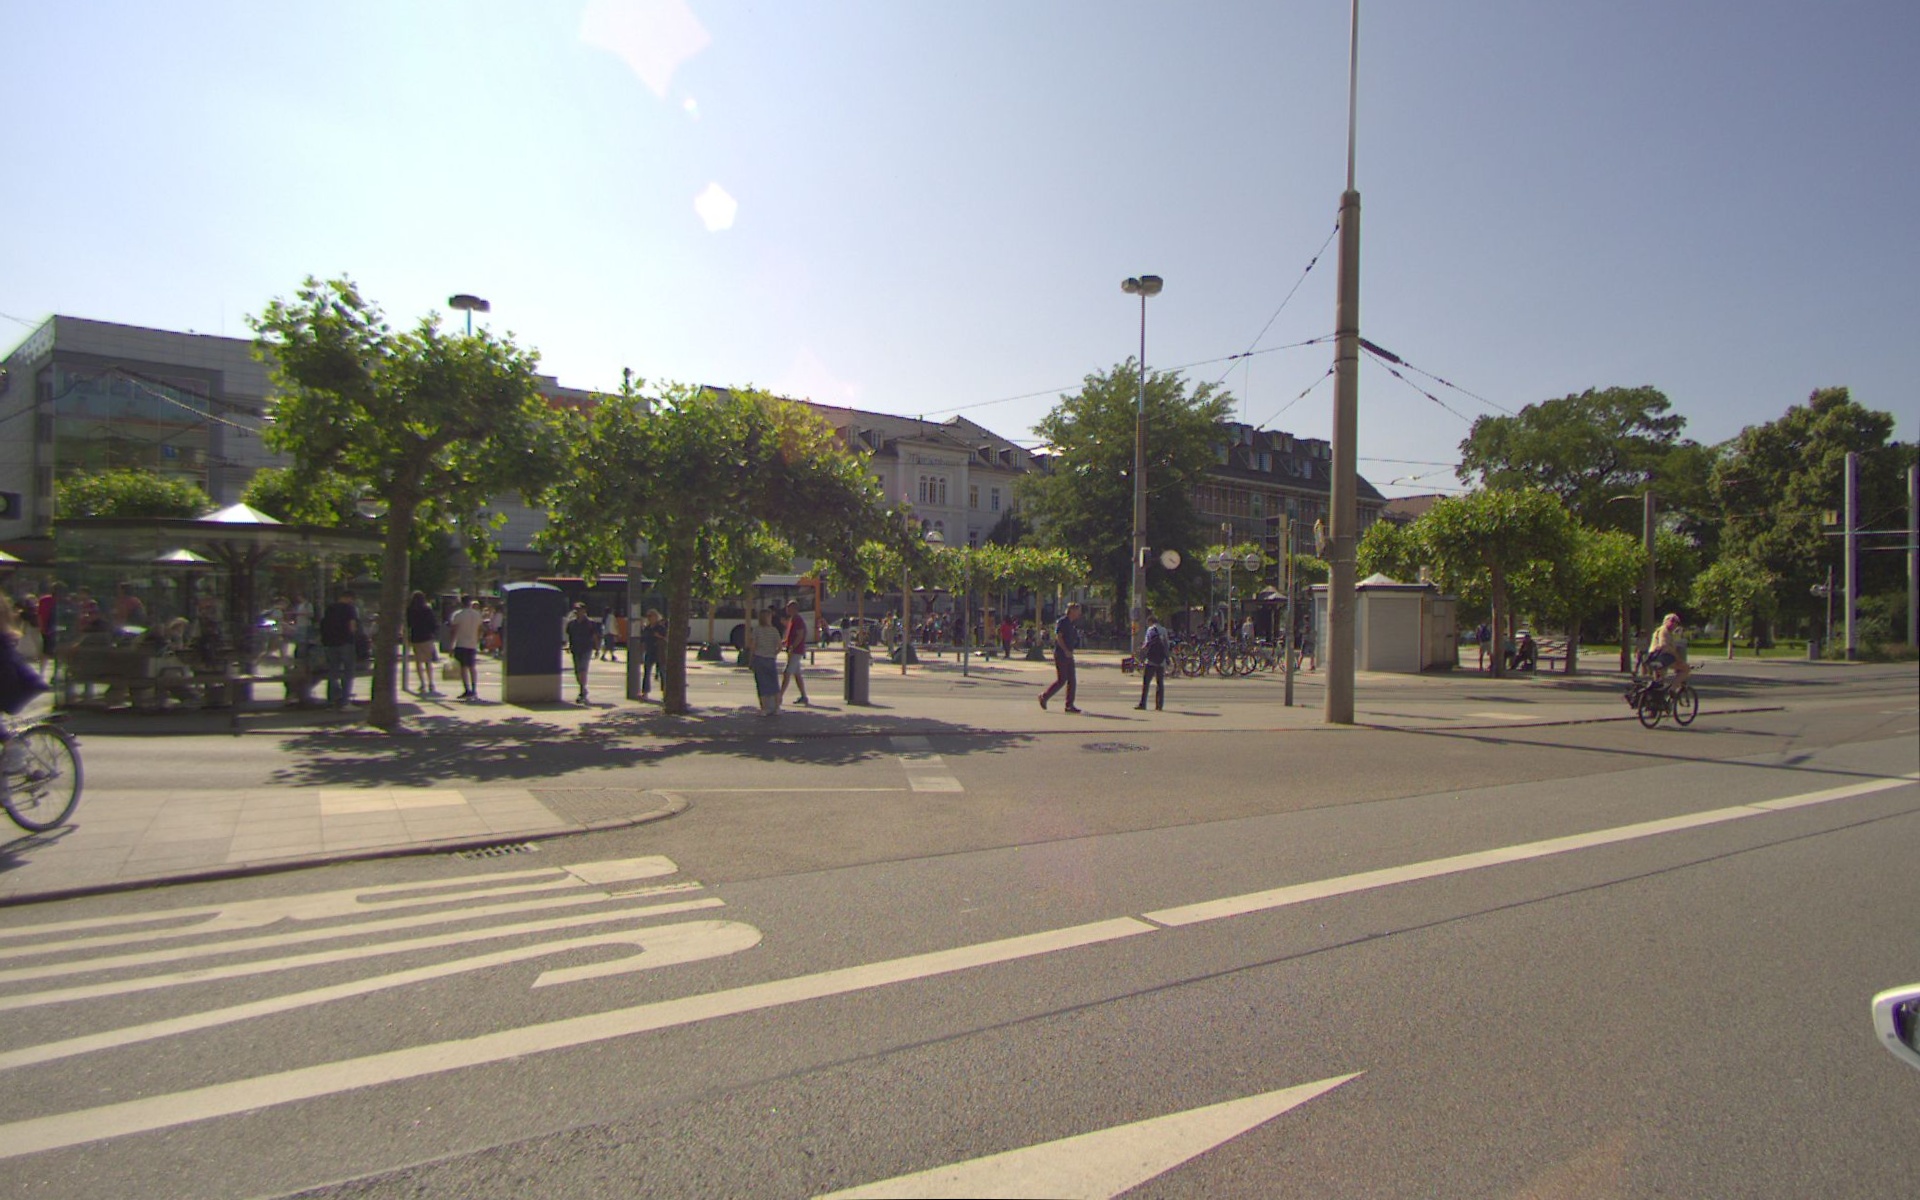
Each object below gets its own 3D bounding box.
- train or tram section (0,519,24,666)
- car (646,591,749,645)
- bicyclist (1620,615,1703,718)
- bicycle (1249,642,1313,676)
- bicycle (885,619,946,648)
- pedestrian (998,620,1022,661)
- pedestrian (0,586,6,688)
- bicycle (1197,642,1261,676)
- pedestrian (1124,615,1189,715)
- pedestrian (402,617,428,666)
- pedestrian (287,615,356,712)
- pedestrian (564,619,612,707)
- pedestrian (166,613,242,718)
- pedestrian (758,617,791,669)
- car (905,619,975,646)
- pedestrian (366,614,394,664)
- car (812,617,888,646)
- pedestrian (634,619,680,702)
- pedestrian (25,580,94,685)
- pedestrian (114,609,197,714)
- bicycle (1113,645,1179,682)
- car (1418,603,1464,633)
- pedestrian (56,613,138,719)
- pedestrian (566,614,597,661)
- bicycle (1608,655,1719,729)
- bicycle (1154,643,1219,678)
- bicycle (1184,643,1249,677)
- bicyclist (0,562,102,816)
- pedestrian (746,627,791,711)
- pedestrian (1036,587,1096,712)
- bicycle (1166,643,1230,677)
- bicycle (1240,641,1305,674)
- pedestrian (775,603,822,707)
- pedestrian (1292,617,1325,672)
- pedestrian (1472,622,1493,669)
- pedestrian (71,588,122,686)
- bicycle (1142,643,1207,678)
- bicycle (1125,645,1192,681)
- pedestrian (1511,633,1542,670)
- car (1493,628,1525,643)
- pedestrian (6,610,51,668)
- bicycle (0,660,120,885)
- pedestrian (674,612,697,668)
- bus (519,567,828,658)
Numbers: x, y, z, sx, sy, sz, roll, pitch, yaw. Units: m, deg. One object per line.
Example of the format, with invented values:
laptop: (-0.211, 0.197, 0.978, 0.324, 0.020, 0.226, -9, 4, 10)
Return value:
train or tram section: (-30.065, -0.329, 26.071, 9.329, 3.878, 2.622, 2, 1, 2)
car: (-15.111, 1.047, 57.975, 5.349, 2.926, 1.938, 1, 1, -37)
bicyclist: (11.593, 1.072, 16.612, 0.892, 1.643, 0.813, 0, -1, -31)
bicycle: (9.966, 1.821, 31.235, 0.578, 0.881, 1.846, 1, 1, -43)
bicycle: (-2.308, 1.725, 52.018, 3.092, 1.397, 0.821, 2, 1, -1)
pedestrian: (1.834, 1.500, 36.923, 0.667, 1.484, 0.625, -2, -2, 21)
pedestrian: (-17.890, 0.677, 18.184, 0.668, 1.865, 0.577, -1, -2, -10)
bicycle: (8.157, 1.776, 30.550, 0.578, 0.881, 1.846, 1, 1, -43)
pedestrian: (3.455, 1.119, 17.646, 0.675, 1.680, 0.884, 1, -1, -40)
pedestrian: (-16.899, 1.286, 31.176, 0.671, 1.484, 0.621, 0, -2, -26)
pedestrian: (-9.998, 0.987, 15.732, 0.612, 1.484, 0.681, -2, -2, 15)
pedestrian: (-6.470, 1.077, 17.449, 0.673, 1.484, 0.620, 0, -2, -31)
pedestrian: (-11.091, 0.950, 14.759, 0.668, 1.484, 0.624, -1, -2, -10)
pedestrian: (-5.240, 1.208, 28.374, 0.667, 1.437, 0.625, -2, -2, 21)
car: (-1.192, 1.951, 60.727, 3.963, 1.528, 1.742, 1, 1, -37)
pedestrian: (-17.588, 1.184, 30.459, 0.671, 1.484, 0.621, 0, -2, -26)
car: (-6.212, 1.784, 57.022, 3.963, 1.528, 1.742, 1, 1, -37)
pedestrian: (-5.609, 1.113, 18.587, 0.673, 1.484, 0.620, 0, -2, -31)
pedestrian: (-15.722, 0.569, 17.553, 0.668, 1.801, 0.577, -1, -2, -10)
pedestrian: (-11.732, 0.890, 14.671, 0.668, 1.484, 0.727, -1, -2, -10)
bicycle: (5.202, 1.764, 28.197, 0.543, 0.868, 1.846, 1, 1, -43)
car: (54.980, 2.056, 114.812, 5.360, 3.361, 2.115, 1, 1, -32)
pedestrian: (-12.527, 0.946, 14.594, 0.668, 1.484, 0.624, -1, -2, -10)
pedestrian: (-12.172, 1.209, 32.325, 0.613, 1.484, 0.680, -2, -2, 25)
bicycle: (11.667, 1.491, 16.643, 1.853, 1.135, 0.813, 1, -3, -31)
bicycle: (6.595, 1.764, 29.368, 0.543, 0.868, 1.846, 1, 1, -43)
bicycle: (7.629, 1.771, 29.918, 0.543, 0.868, 1.846, 1, 1, -43)
bicyclist: (-6.167, 0.518, 6.420, 0.822, 1.518, 1.151, 1, 1, -30)
pedestrian: (-2.922, 1.045, 15.375, 0.543, 1.250, 0.578, 1, -1, 3)
pedestrian: (1.796, 0.833, 16.927, 0.877, 2.034, 0.681, -1, -2, 15)
bicycle: (7.031, 1.761, 29.710, 0.543, 0.868, 1.846, 1, 1, -43)
bicycle: (9.565, 1.745, 30.801, 0.578, 0.881, 1.846, 1, 1, -43)
pedestrian: (-2.816, 0.963, 17.553, 0.667, 1.768, 0.625, -1, -2, 3)
pedestrian: (11.248, 1.425, 32.443, 0.741, 1.751, 0.836, -3, -3, 36)
pedestrian: (18.194, 1.588, 34.974, 0.566, 1.630, 0.602, -2, -2, 30)
pedestrian: (-16.134, 0.689, 18.786, 0.571, 1.801, 0.676, 0, -2, -28)
bicycle: (6.178, 1.737, 28.971, 0.543, 0.868, 1.846, 1, 1, -43)
bicycle: (5.648, 1.776, 28.654, 0.579, 0.883, 1.846, 1, 1, -43)
pedestrian: (19.843, 1.804, 35.212, 0.746, 1.263, 0.670, 0, -3, -37)
car: (62.350, 4.015, 114.015, 3.963, 1.528, 1.742, 1, 1, -37)
pedestrian: (-25.408, 1.066, 27.396, 0.667, 1.569, 0.578, -1, -2, -5)
bicycle: (-6.228, 1.011, 6.467, 0.822, 1.036, 2.604, 1, 1, -30)
pedestrian: (-7.841, 1.140, 28.694, 0.523, 1.573, 0.597, 0, -2, -28)
bus: (-11.976, 0.555, 43.074, 12.243, 3.466, 3.059, 2, 1, -12)
